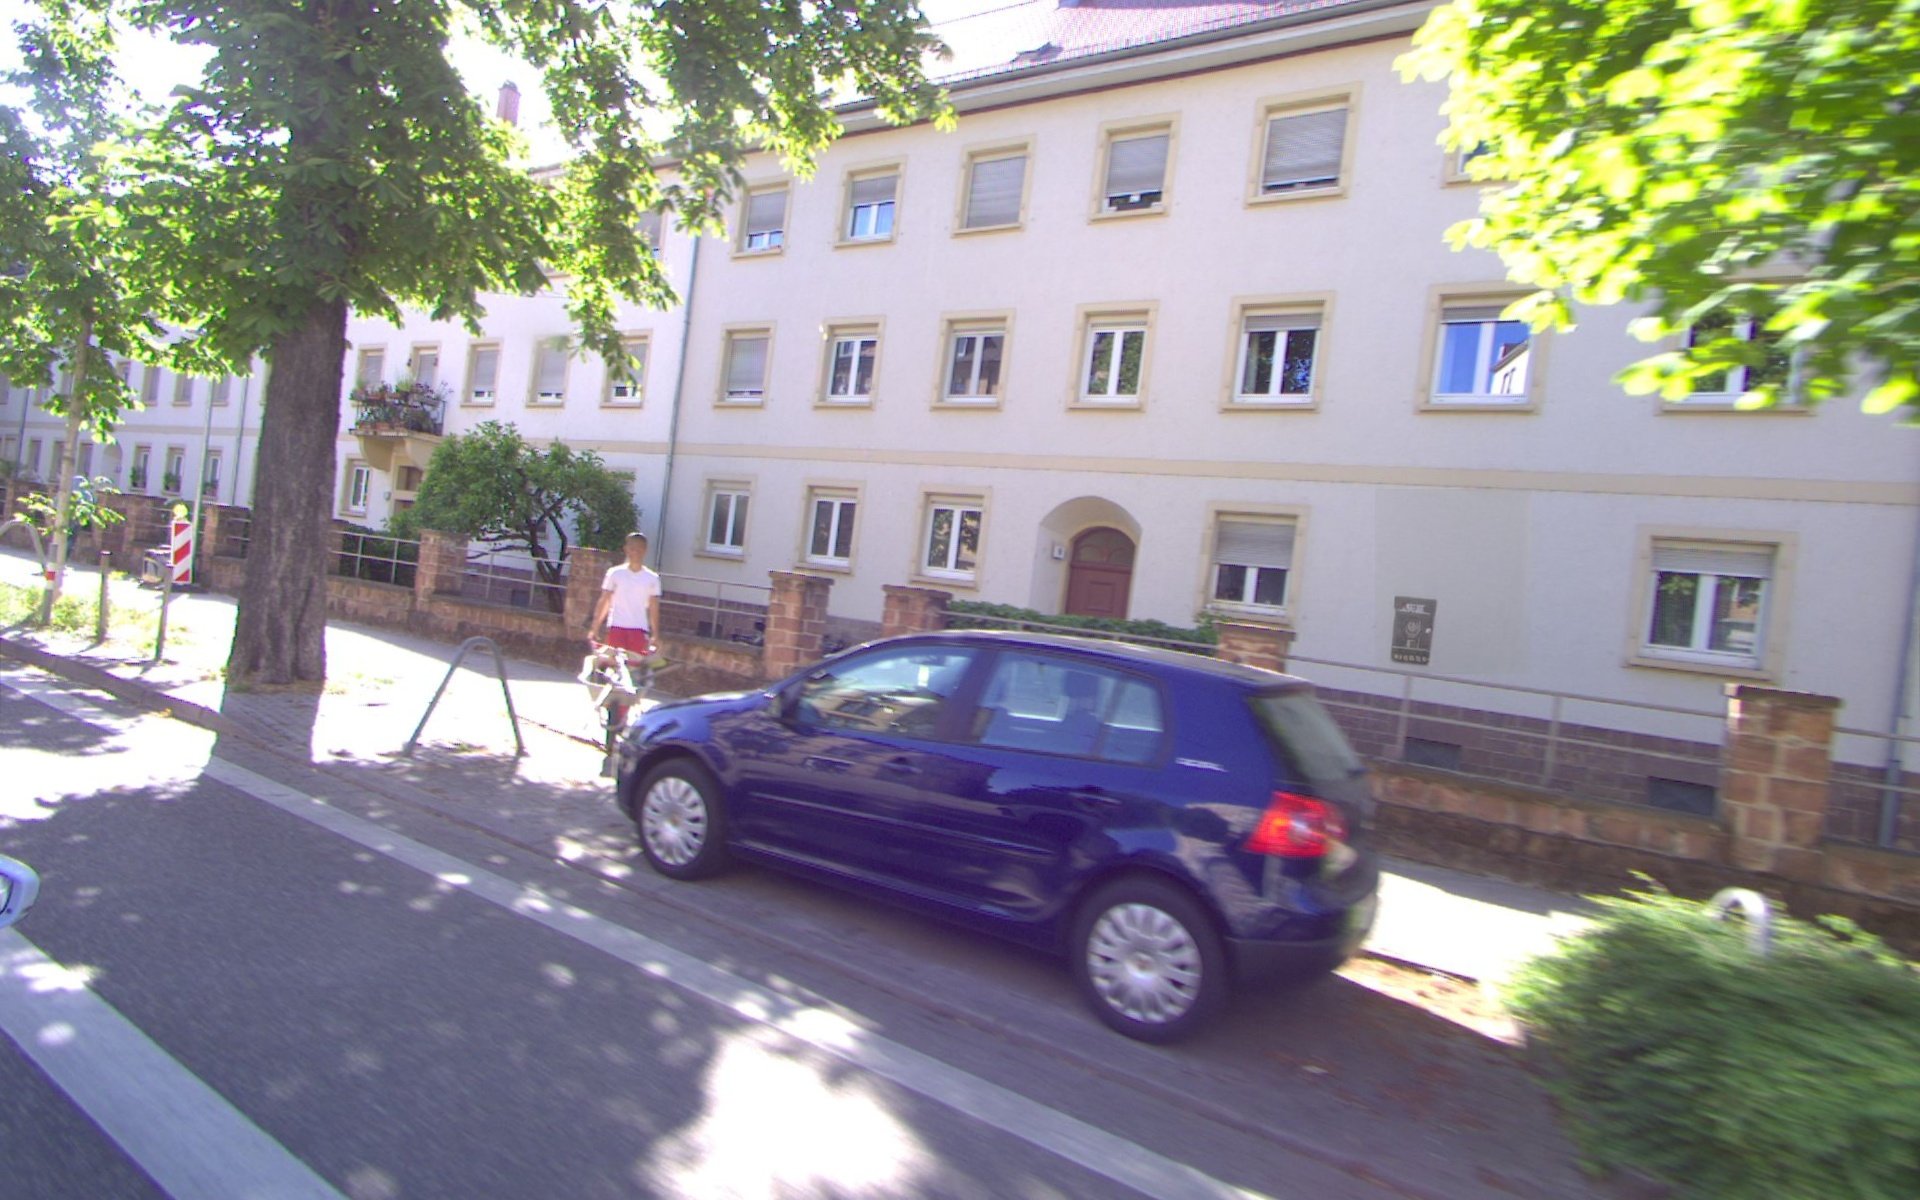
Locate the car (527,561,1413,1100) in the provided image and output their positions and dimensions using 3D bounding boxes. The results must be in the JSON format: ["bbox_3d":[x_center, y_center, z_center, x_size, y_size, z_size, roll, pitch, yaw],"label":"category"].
[{"bbox_3d":[-0.087,0.811,5.223,4.174,1.491,1.723,7,0,30],"label":"car"}]

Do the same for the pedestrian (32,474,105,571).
[{"bbox_3d":[-17.368,-1.492,19.618,0.757,1.743,0.575,9,-2,-29],"label":"pedestrian"}]

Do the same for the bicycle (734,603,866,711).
[{"bbox_3d":[-2.194,0.761,13.701,1.712,1.235,0.543,7,0,32],"label":"bicycle"}]

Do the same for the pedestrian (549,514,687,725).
[{"bbox_3d":[-3.136,0.173,9.276,0.896,1.794,0.600,6,2,1],"label":"pedestrian"}]

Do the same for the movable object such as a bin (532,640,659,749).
[{"bbox_3d":[-3.018,0.766,8.404,0.655,0.753,0.923,6,2,1],"label":"movable object such as a bin"}]

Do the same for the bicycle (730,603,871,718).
[{"bbox_3d":[-2.065,0.763,12.927,1.712,1.235,0.543,7,0,32],"label":"bicycle"}]

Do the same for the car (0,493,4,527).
[{"bbox_3d":[-17.097,-1.208,15.927,3.977,1.481,1.790,7,-1,32],"label":"car"}]

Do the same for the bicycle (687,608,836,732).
[{"bbox_3d":[-2.396,0.817,12.060,1.712,1.235,0.543,7,0,32],"label":"bicycle"}]
